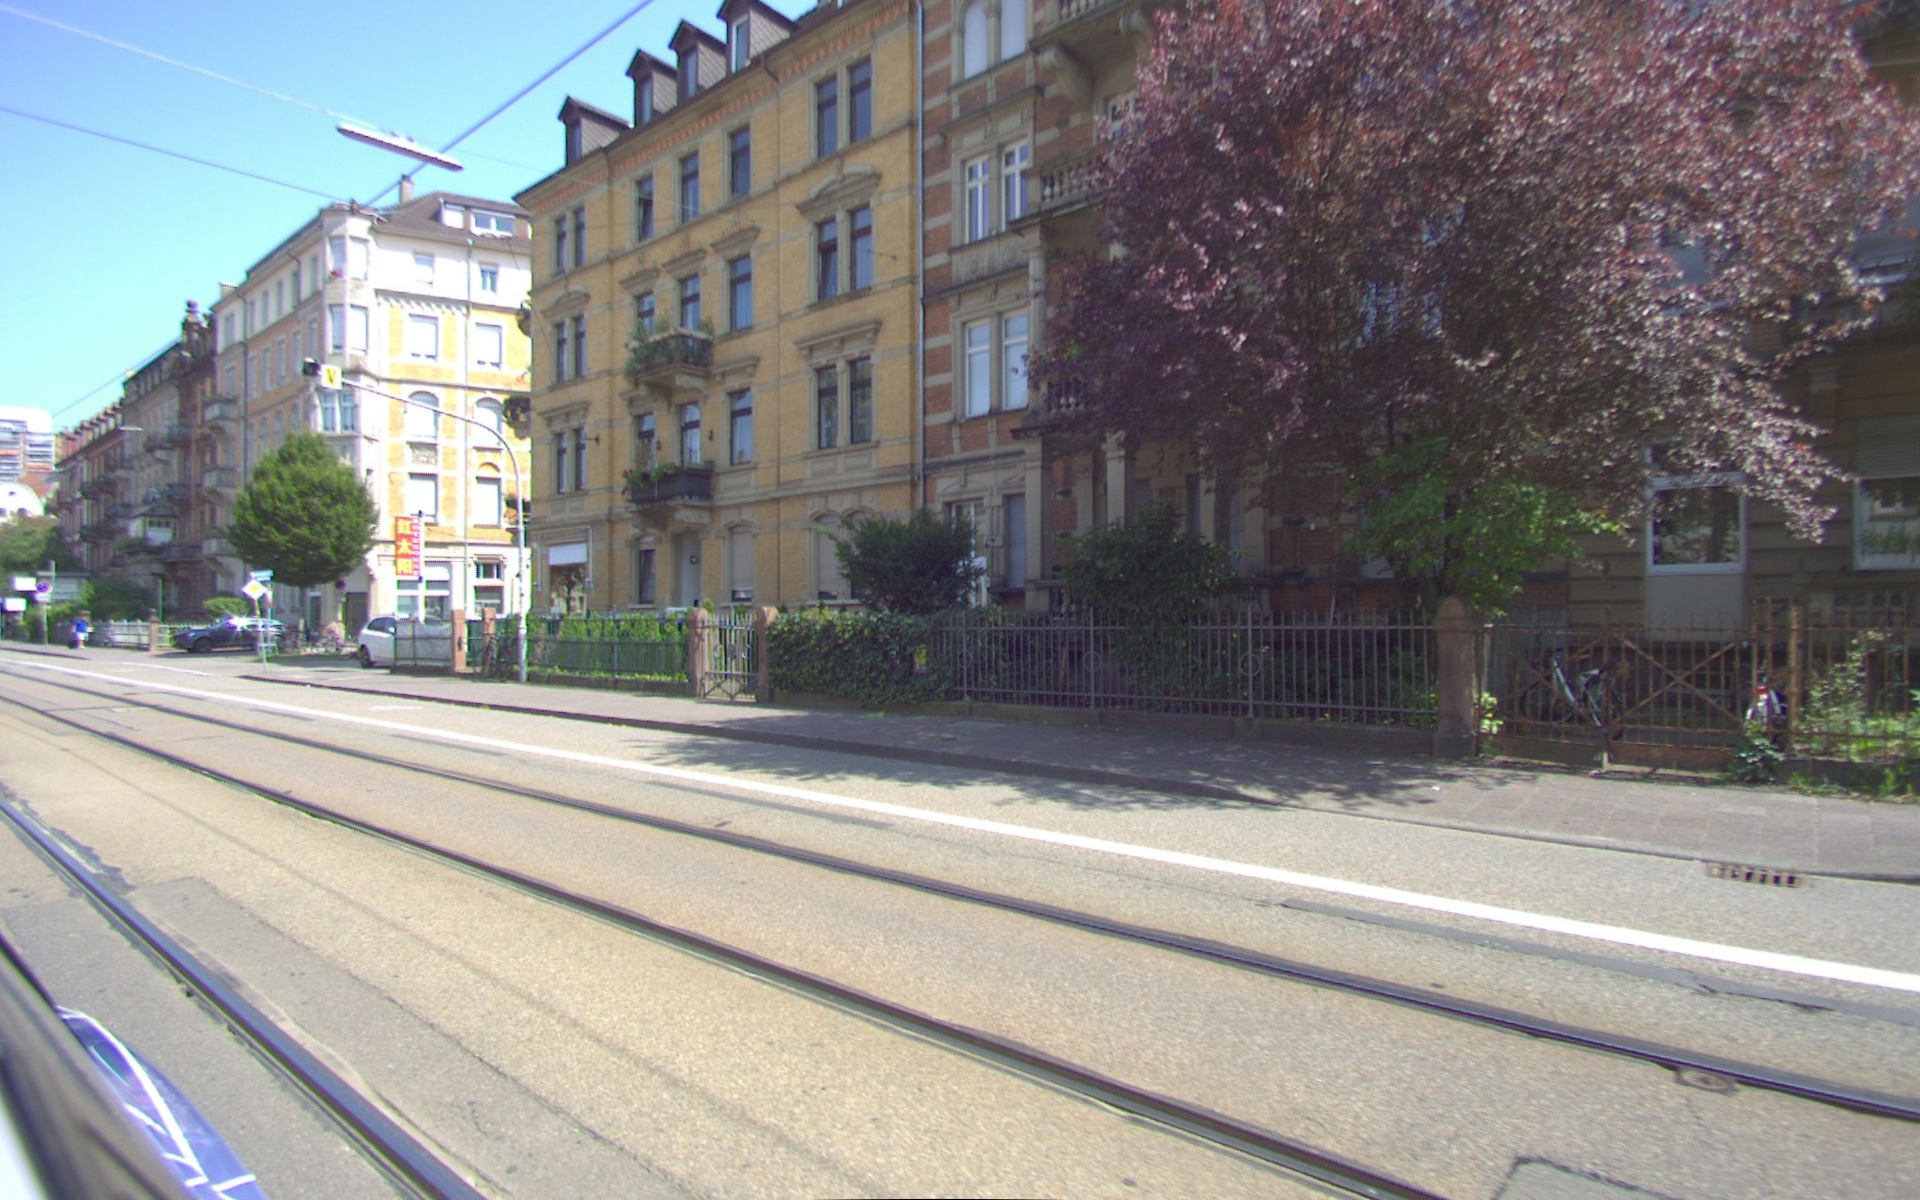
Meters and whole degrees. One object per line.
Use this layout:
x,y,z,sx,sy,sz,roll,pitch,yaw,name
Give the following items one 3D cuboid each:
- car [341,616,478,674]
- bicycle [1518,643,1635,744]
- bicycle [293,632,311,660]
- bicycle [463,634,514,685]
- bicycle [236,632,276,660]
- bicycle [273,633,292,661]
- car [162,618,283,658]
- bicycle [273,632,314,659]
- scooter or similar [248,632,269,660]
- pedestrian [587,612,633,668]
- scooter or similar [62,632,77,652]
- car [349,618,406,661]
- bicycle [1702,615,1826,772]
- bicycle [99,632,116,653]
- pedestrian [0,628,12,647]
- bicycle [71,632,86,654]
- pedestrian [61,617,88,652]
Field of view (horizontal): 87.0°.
-16.468,1.310,30.195,4.352,1.606,1.975,-1,-2,37,car
6.626,0.963,10.975,0.711,0.918,1.806,-1,0,20,bicycle
-27.146,1.888,41.773,0.384,1.107,1.456,-1,-1,-24,bicycle
-10.520,1.319,22.559,1.566,1.107,0.386,-2,-2,38,bicycle
-29.230,1.902,42.032,0.387,1.107,1.443,-2,-1,17,bicycle
-27.817,1.922,41.556,0.384,1.107,1.456,-1,-1,-24,bicycle
-32.750,1.651,45.012,1.878,1.606,4.058,-2,-1,42,car
-28.595,1.924,43.404,1.428,1.107,0.391,0,-2,-39,bicycle
-28.397,1.853,40.944,0.588,1.107,1.392,0,-2,-39,scooter or similar
-9.792,1.103,28.305,0.883,1.522,0.860,-2,-2,32,pedestrian
-44.714,2.110,50.808,0.583,0.990,0.397,-1,0,33,scooter or similar
-24.599,1.634,42.833,1.965,1.701,4.373,1,-2,-29,car
7.075,0.754,8.873,0.716,1.191,1.793,-1,0,42,bicycle
-42.274,2.097,50.201,1.832,1.046,0.386,-2,-2,42,bicycle
-106.982,4.206,113.296,1.036,2.029,1.080,-1,0,40,pedestrian
-46.972,2.275,53.941,1.581,1.156,0.386,-2,-2,42,bicycle
-44.358,1.724,50.687,0.869,1.769,0.874,-2,-2,40,pedestrian
